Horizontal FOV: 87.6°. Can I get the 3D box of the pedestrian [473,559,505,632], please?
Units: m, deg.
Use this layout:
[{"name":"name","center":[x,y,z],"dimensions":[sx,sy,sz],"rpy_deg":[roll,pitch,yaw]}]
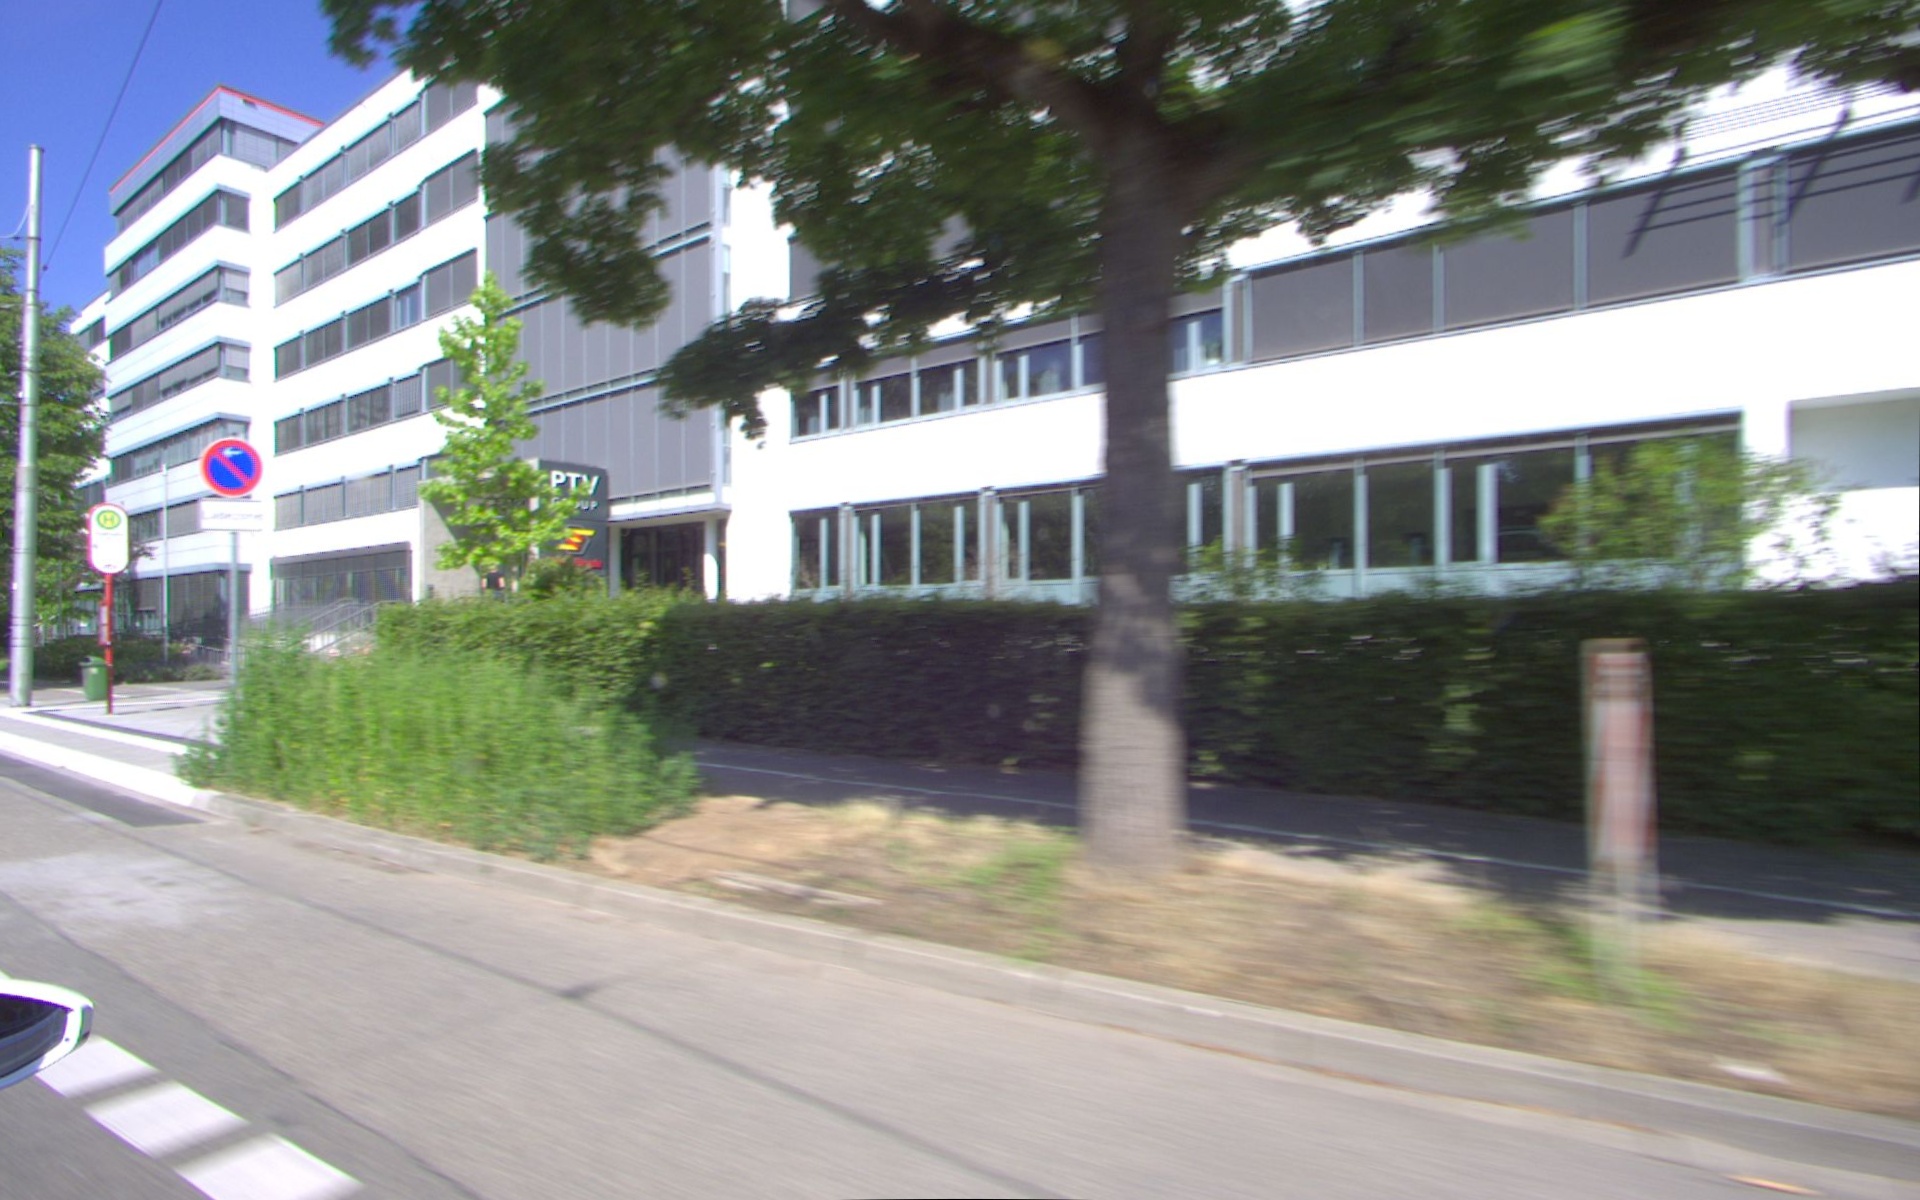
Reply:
[{"name":"pedestrian","center":[-11.529,-0.093,24.523],"dimensions":[0.540,1.750,0.497],"rpy_deg":[-1,-1,37]}]
